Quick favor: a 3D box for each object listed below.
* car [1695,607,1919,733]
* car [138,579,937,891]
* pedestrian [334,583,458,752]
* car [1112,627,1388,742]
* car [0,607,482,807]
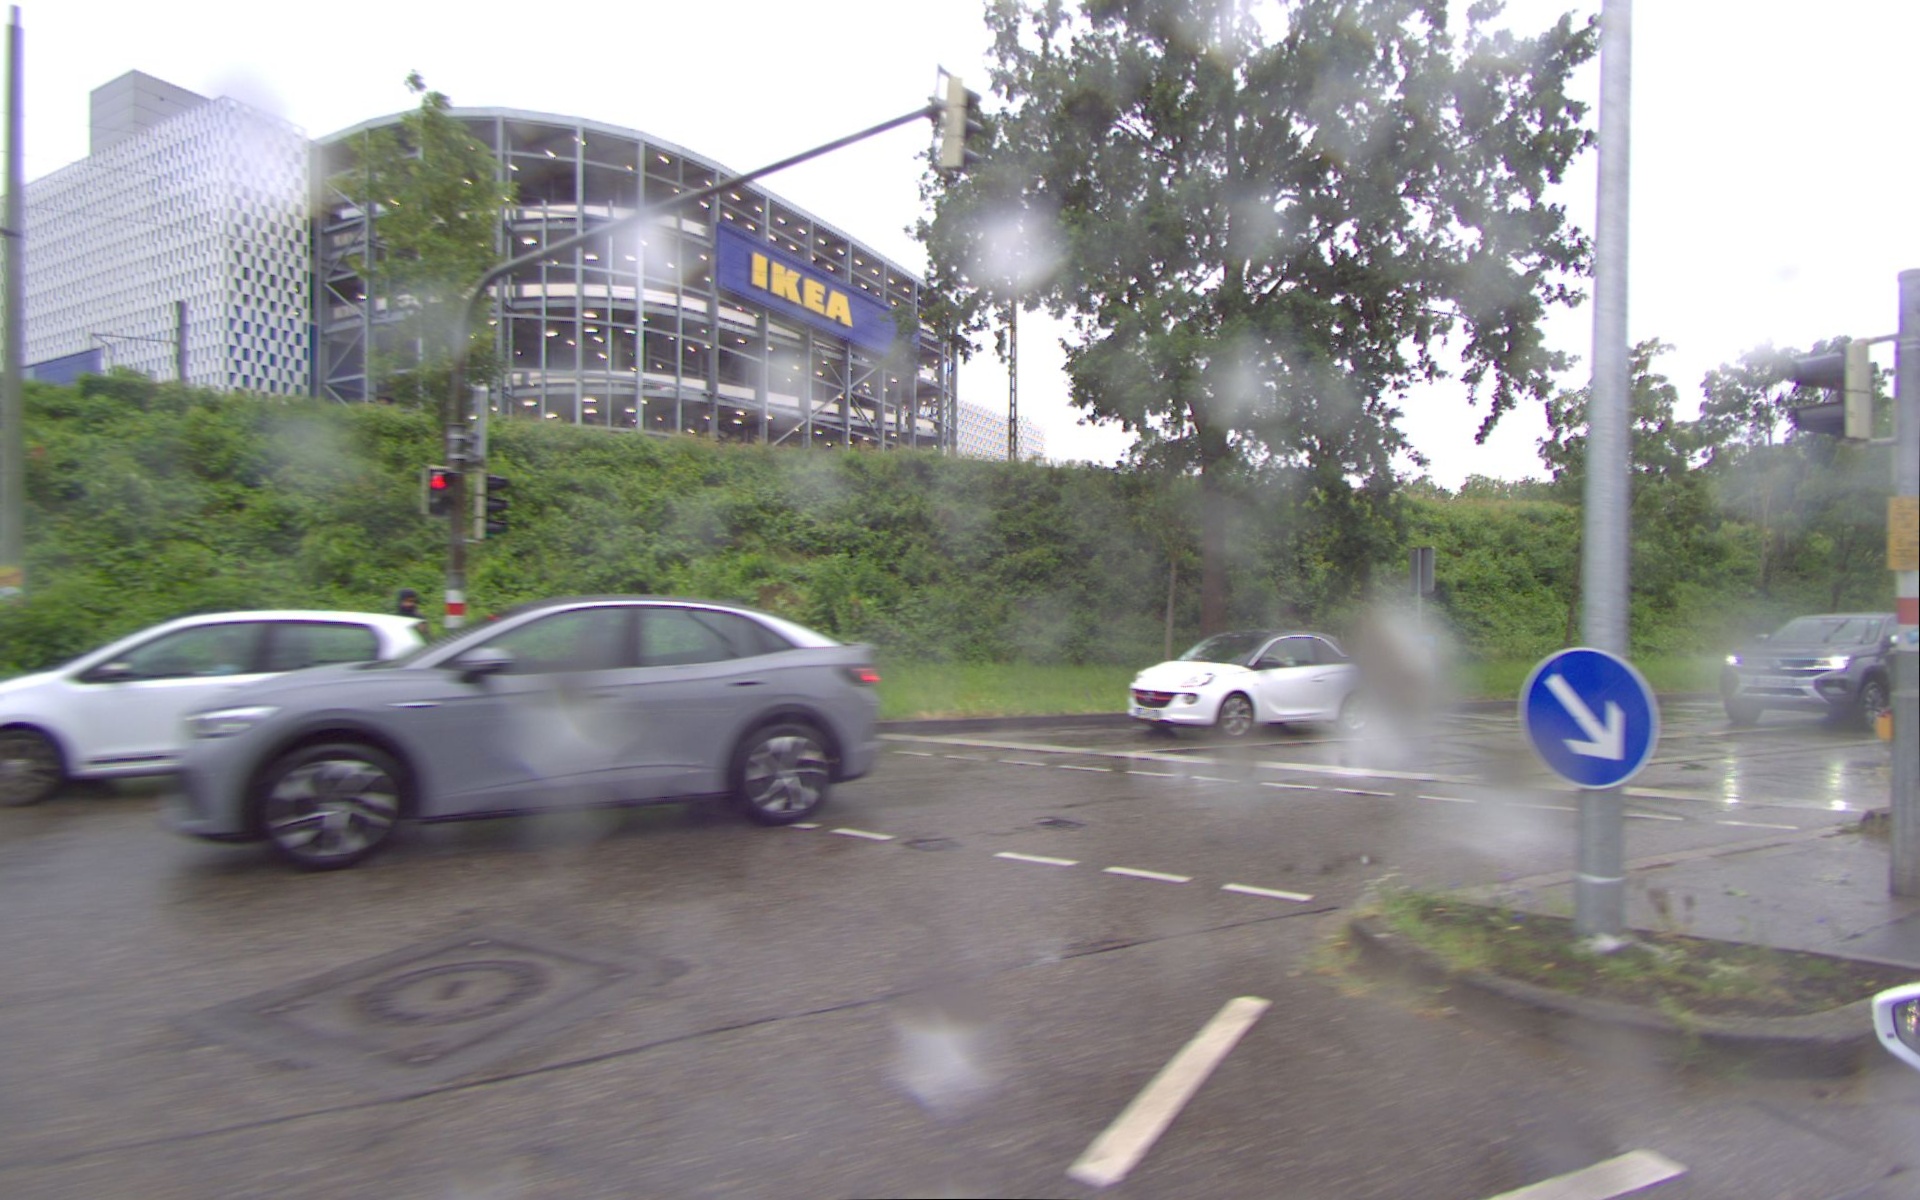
[{"bbox_3d":[14.995,1.071,16.954,5.472,1.843,2.057,1,-1,-28],"label":"car"},{"bbox_3d":[-2.656,0.764,7.202,4.759,1.607,1.753,2,-1,-32],"label":"car"},{"bbox_3d":[-6.697,0.756,11.914,1.120,1.871,1.093,1,0,-38],"label":"pedestrian"},{"bbox_3d":[4.160,1.112,14.328,3.775,1.422,1.584,1,-1,-28],"label":"car"},{"bbox_3d":[-6.281,0.811,8.752,3.741,1.472,1.631,1,-1,-29],"label":"car"}]
